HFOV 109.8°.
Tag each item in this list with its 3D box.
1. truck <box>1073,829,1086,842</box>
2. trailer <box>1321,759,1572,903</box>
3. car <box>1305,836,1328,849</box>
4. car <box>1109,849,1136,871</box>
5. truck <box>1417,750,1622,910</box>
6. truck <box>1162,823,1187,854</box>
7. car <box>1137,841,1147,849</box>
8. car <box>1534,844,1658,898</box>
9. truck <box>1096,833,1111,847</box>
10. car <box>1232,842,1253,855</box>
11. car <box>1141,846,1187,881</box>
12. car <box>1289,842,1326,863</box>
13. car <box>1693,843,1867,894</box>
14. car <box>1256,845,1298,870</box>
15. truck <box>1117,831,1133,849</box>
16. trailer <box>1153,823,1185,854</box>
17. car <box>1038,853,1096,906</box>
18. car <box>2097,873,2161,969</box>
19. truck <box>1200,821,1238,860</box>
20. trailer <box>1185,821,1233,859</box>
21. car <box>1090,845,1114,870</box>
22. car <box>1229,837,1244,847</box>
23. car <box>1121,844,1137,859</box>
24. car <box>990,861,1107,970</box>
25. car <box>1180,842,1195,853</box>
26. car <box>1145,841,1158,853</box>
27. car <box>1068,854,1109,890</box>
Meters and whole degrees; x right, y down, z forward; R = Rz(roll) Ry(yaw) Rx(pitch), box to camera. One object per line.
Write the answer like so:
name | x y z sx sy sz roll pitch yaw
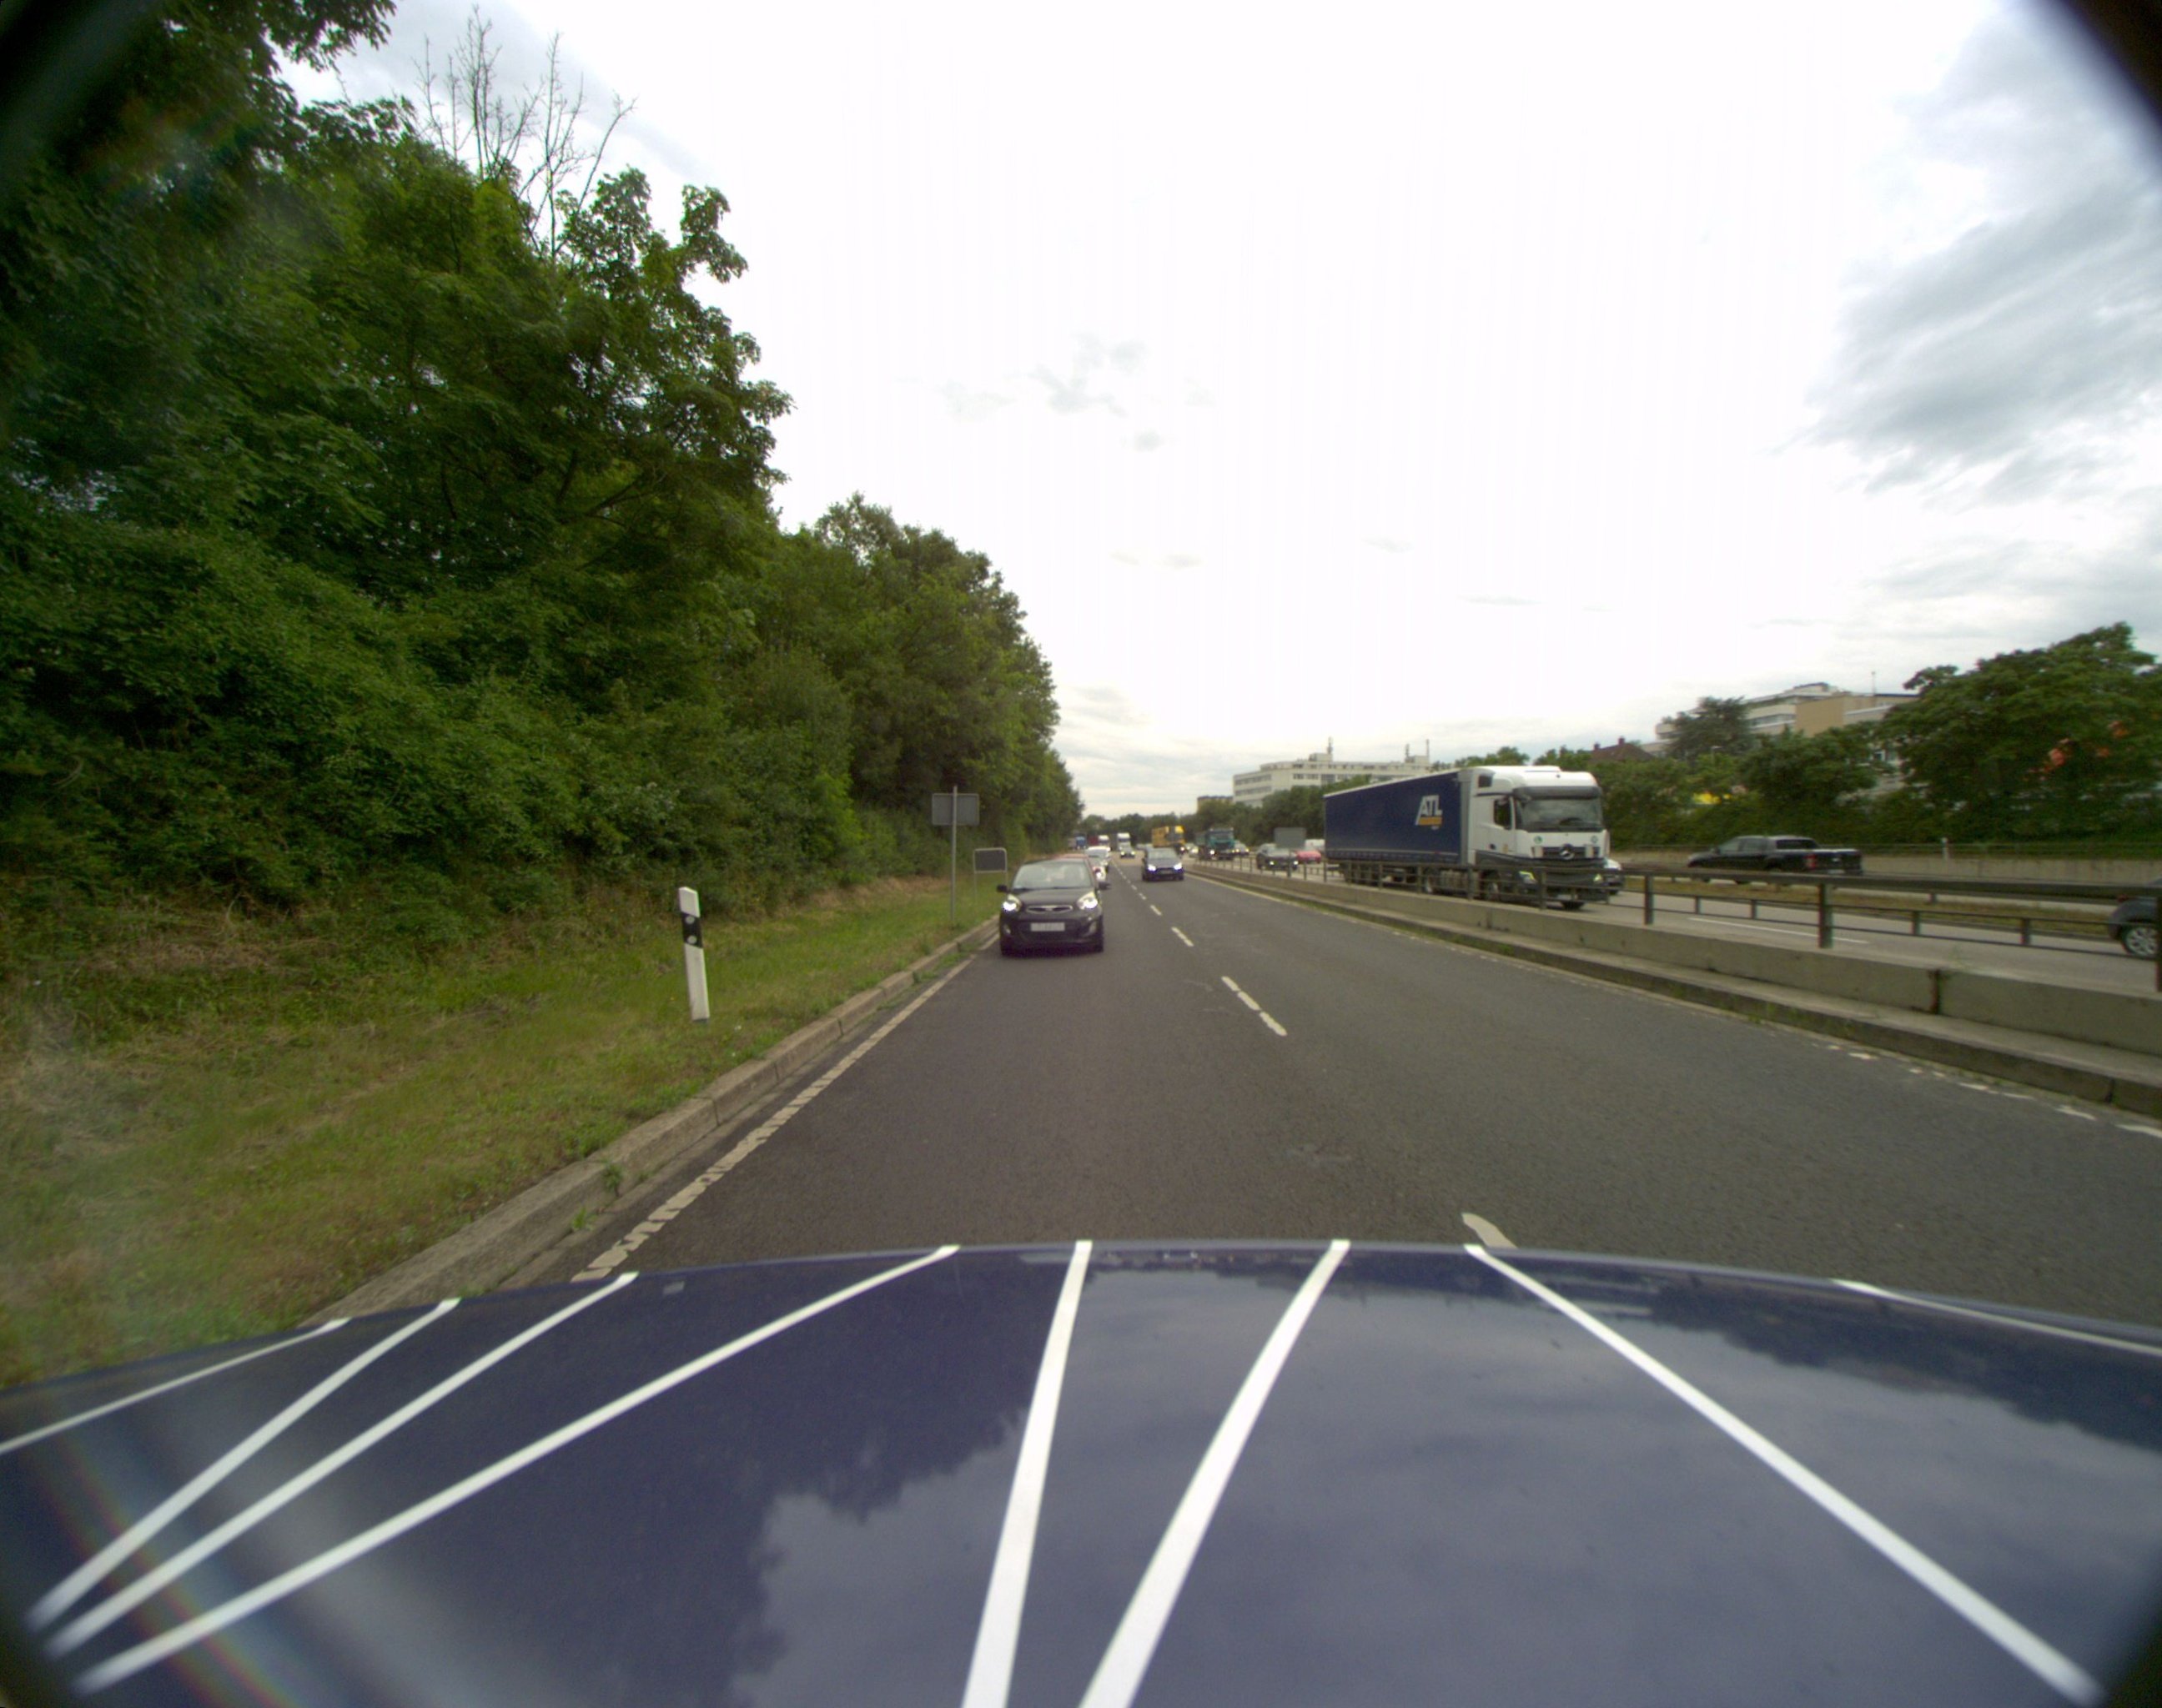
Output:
truck | -0.623 -6.094 250.318 2.533 4.013 13.766 -1 1 -8
trailer | 12.530 -0.742 28.595 2.531 4.013 14.782 0 1 1
car | 29.054 -1.427 93.838 1.627 1.503 3.896 -2 1 1
car | 2.775 0.403 51.191 1.627 1.337 4.000 -2 1 1
truck | 12.427 -0.638 22.245 2.531 4.013 6.096 0 1 1
truck | 13.361 -2.229 108.781 2.893 4.319 6.518 0 1 1
car | 14.515 -2.112 181.077 1.998 2.002 4.000 0 1 1
car | 17.530 0.513 26.090 1.627 1.660 3.896 -2 1 1
truck | 6.263 -3.875 213.228 2.532 4.013 13.769 0 1 -6
car | 18.770 -0.664 88.512 1.627 1.433 4.000 -2 1 1
car | 4.018 0.407 37.368 1.784 1.554 4.421 -2 1 1
car | 17.162 -0.124 57.766 1.627 1.433 4.000 -2 1 1
car | 23.973 0.433 26.367 1.627 1.543 4.839 -2 1 1
car | 12.269 0.165 47.828 1.627 1.433 4.000 -2 1 1
truck | 10.142 -3.330 177.587 2.957 4.013 13.775 0 1 0
trailer | 13.495 -2.310 118.028 2.897 4.328 19.919 0 1 1
car | -0.364 0.724 23.918 1.627 1.433 4.000 -2 1 1
car | 17.270 1.062 10.357 1.627 1.433 3.896 0 1 2
truck | 13.361 -1.320 73.971 2.645 3.614 6.667 0 1 1
trailer | 13.479 -1.428 81.463 2.613 3.620 16.747 0 1 1
car | 1.635 0.250 60.531 1.769 1.786 4.577 -2 1 1
car | 25.575 -2.011 124.811 1.733 1.503 3.896 -2 1 1
car | 6.197 -0.337 98.036 1.769 1.786 4.577 -2 1 1
car | -0.440 0.903 12.898 1.627 1.433 4.000 -2 1 1
car | 17.251 -1.060 122.800 1.784 1.554 4.421 -2 1 1
car | 12.610 -1.247 136.271 1.998 2.002 3.999 -2 1 1
car | 0.335 0.740 32.736 1.627 1.337 4.000 -2 1 1
